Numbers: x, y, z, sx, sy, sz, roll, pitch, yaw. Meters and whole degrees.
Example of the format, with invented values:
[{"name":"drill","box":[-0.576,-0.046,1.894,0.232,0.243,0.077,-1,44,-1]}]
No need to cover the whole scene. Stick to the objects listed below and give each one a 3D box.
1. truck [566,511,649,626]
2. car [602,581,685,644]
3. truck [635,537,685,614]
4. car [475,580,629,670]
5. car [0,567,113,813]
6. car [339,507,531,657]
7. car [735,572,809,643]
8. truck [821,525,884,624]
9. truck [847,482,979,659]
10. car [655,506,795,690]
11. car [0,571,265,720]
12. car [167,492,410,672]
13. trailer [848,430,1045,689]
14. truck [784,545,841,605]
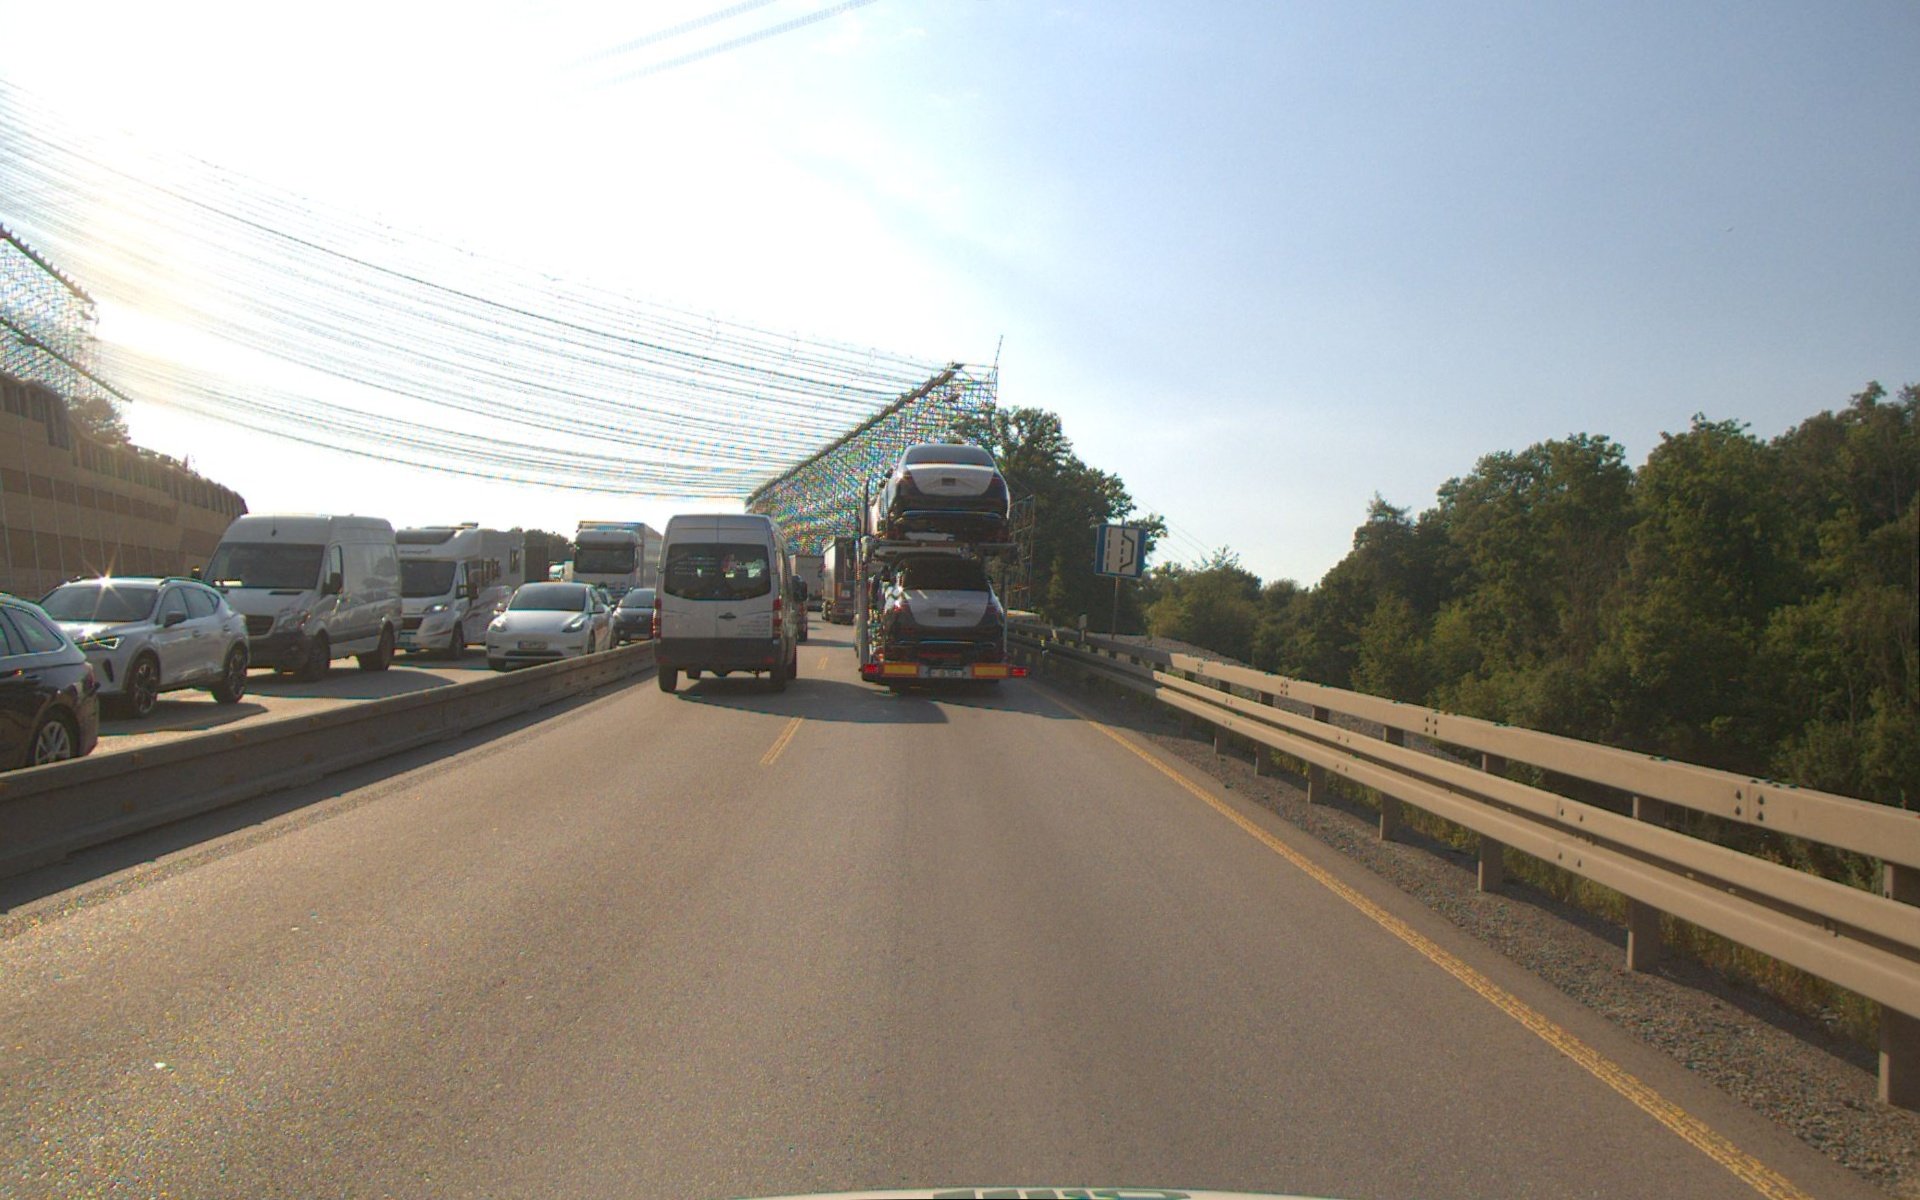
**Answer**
[{"name":"truck","box":[-13.799,-1.195,65.191,2.661,4.291,5.673,1,0,-7]},{"name":"car","box":[-8.699,0.316,45.764,1.747,1.548,3.997,2,1,-4]},{"name":"truck","box":[-17.691,-1.434,97.719,2.694,4.375,5.922,1,0,-9]},{"name":"car","box":[-7.885,0.424,32.427,2.017,1.512,4.724,-2,1,-3]},{"name":"car","box":[-6.815,0.550,9.681,1.621,1.550,4.285,1,0,-3]},{"name":"car","box":[-11.344,-0.346,36.487,2.288,2.969,7.626,0,0,-4]},{"name":"car","box":[-5.754,0.224,51.045,1.954,2.049,3.998,1,0,-3]},{"name":"truck","box":[-5.449,-1.239,82.254,2.679,4.462,11.508,2,0,-6]},{"name":"truck","box":[-1.244,-0.642,39.405,2.825,3.767,7.320,1,0,-4]},{"name":"car","box":[-3.612,-0.024,26.020,1.918,2.666,3.996,0,0,-4]},{"name":"car","box":[-9.876,0.472,19.489,1.728,1.550,4.001,1,0,-1]},{"name":"car","box":[-10.902,-0.254,27.382,1.917,2.666,5.745,0,0,-3]},{"name":"trailer","box":[-0.701,-0.606,31.919,2.812,3.790,14.934,1,0,-4]},{"name":"truck","box":[-11.537,-1.969,128.418,3.618,4.294,13.645,-2,1,-8]}]
